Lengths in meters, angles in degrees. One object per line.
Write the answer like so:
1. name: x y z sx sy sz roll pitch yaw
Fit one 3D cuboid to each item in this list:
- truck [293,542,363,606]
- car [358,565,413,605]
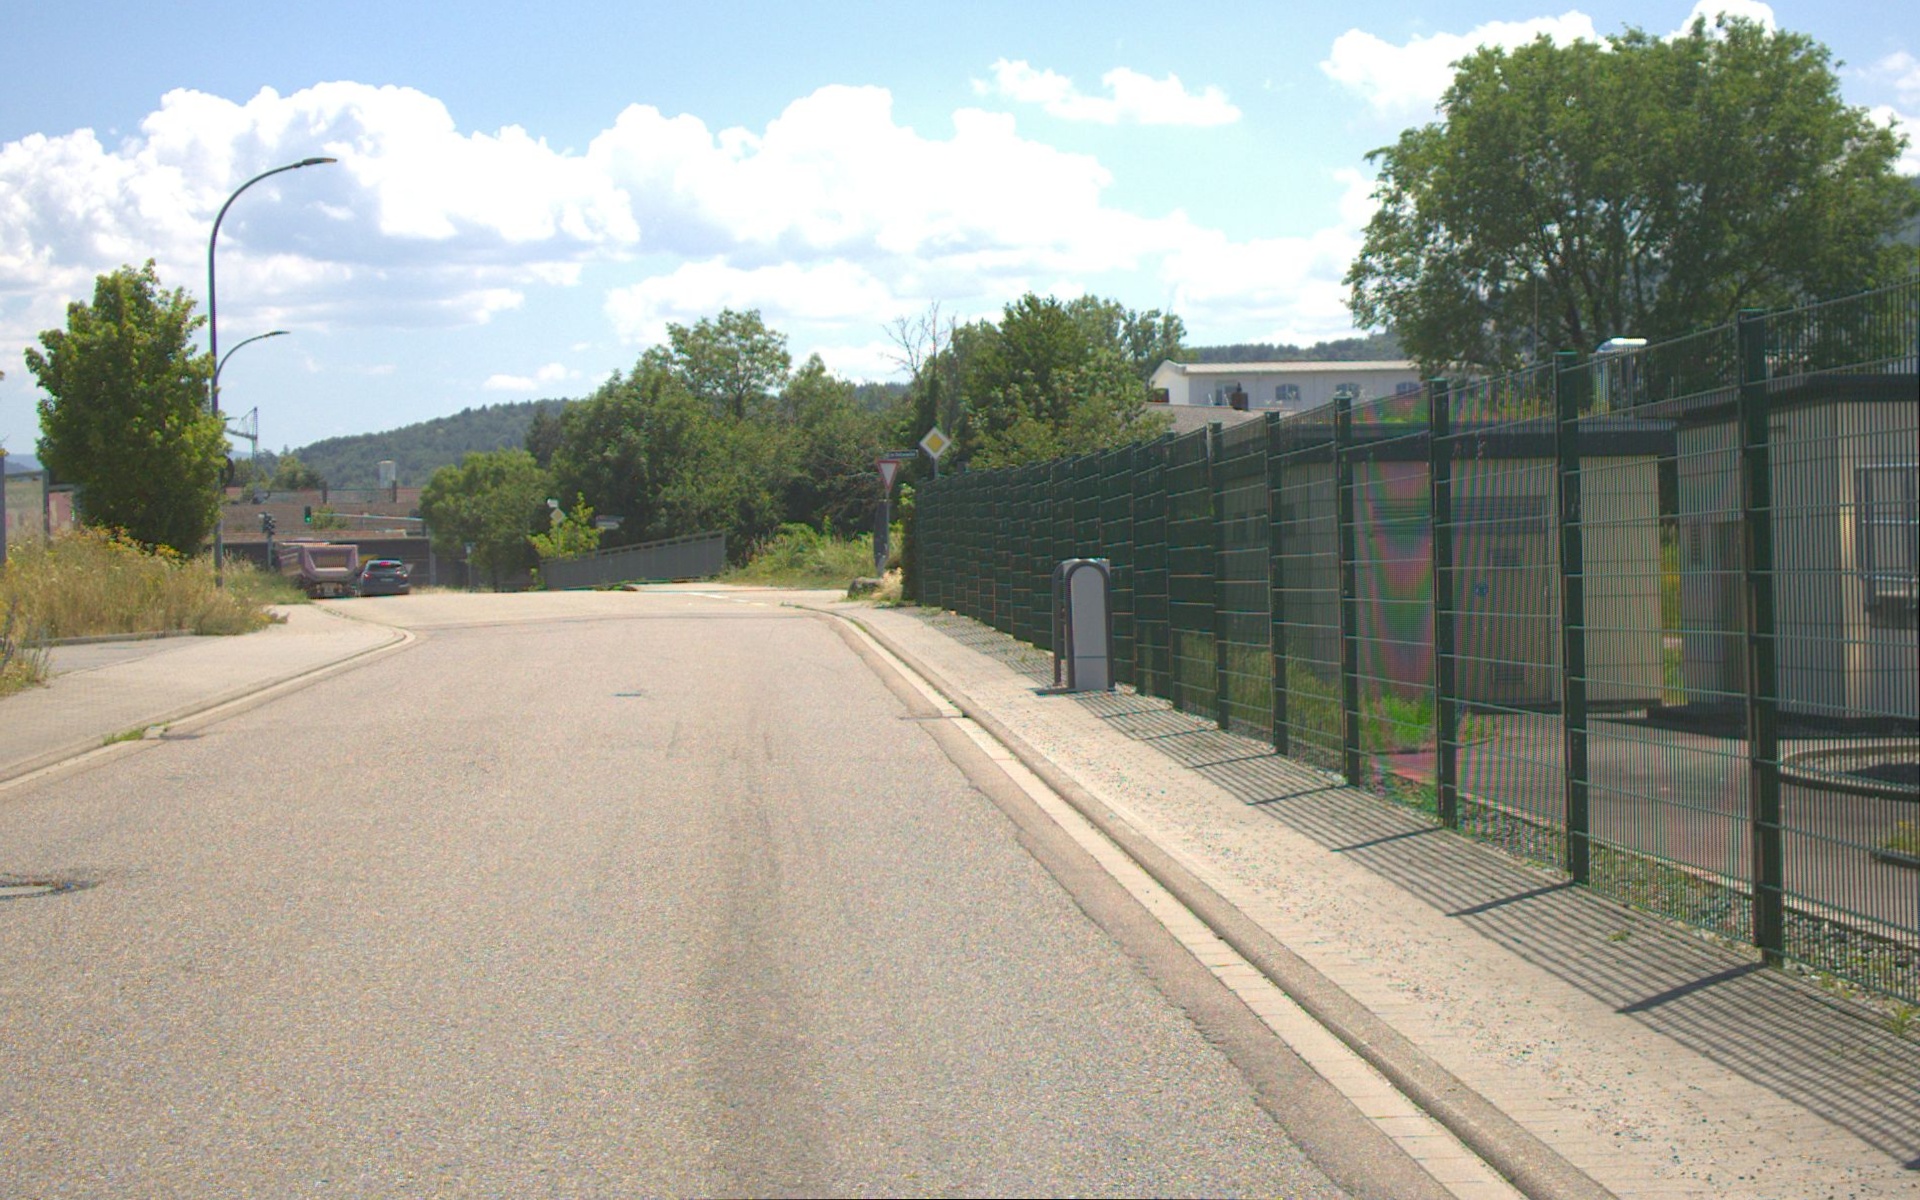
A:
1. truck: -28.535 -1.212 154.986 2.682 2.763 6.092 0 1 -14
2. car: -21.574 -0.582 129.042 1.775 1.443 3.453 0 1 -14
